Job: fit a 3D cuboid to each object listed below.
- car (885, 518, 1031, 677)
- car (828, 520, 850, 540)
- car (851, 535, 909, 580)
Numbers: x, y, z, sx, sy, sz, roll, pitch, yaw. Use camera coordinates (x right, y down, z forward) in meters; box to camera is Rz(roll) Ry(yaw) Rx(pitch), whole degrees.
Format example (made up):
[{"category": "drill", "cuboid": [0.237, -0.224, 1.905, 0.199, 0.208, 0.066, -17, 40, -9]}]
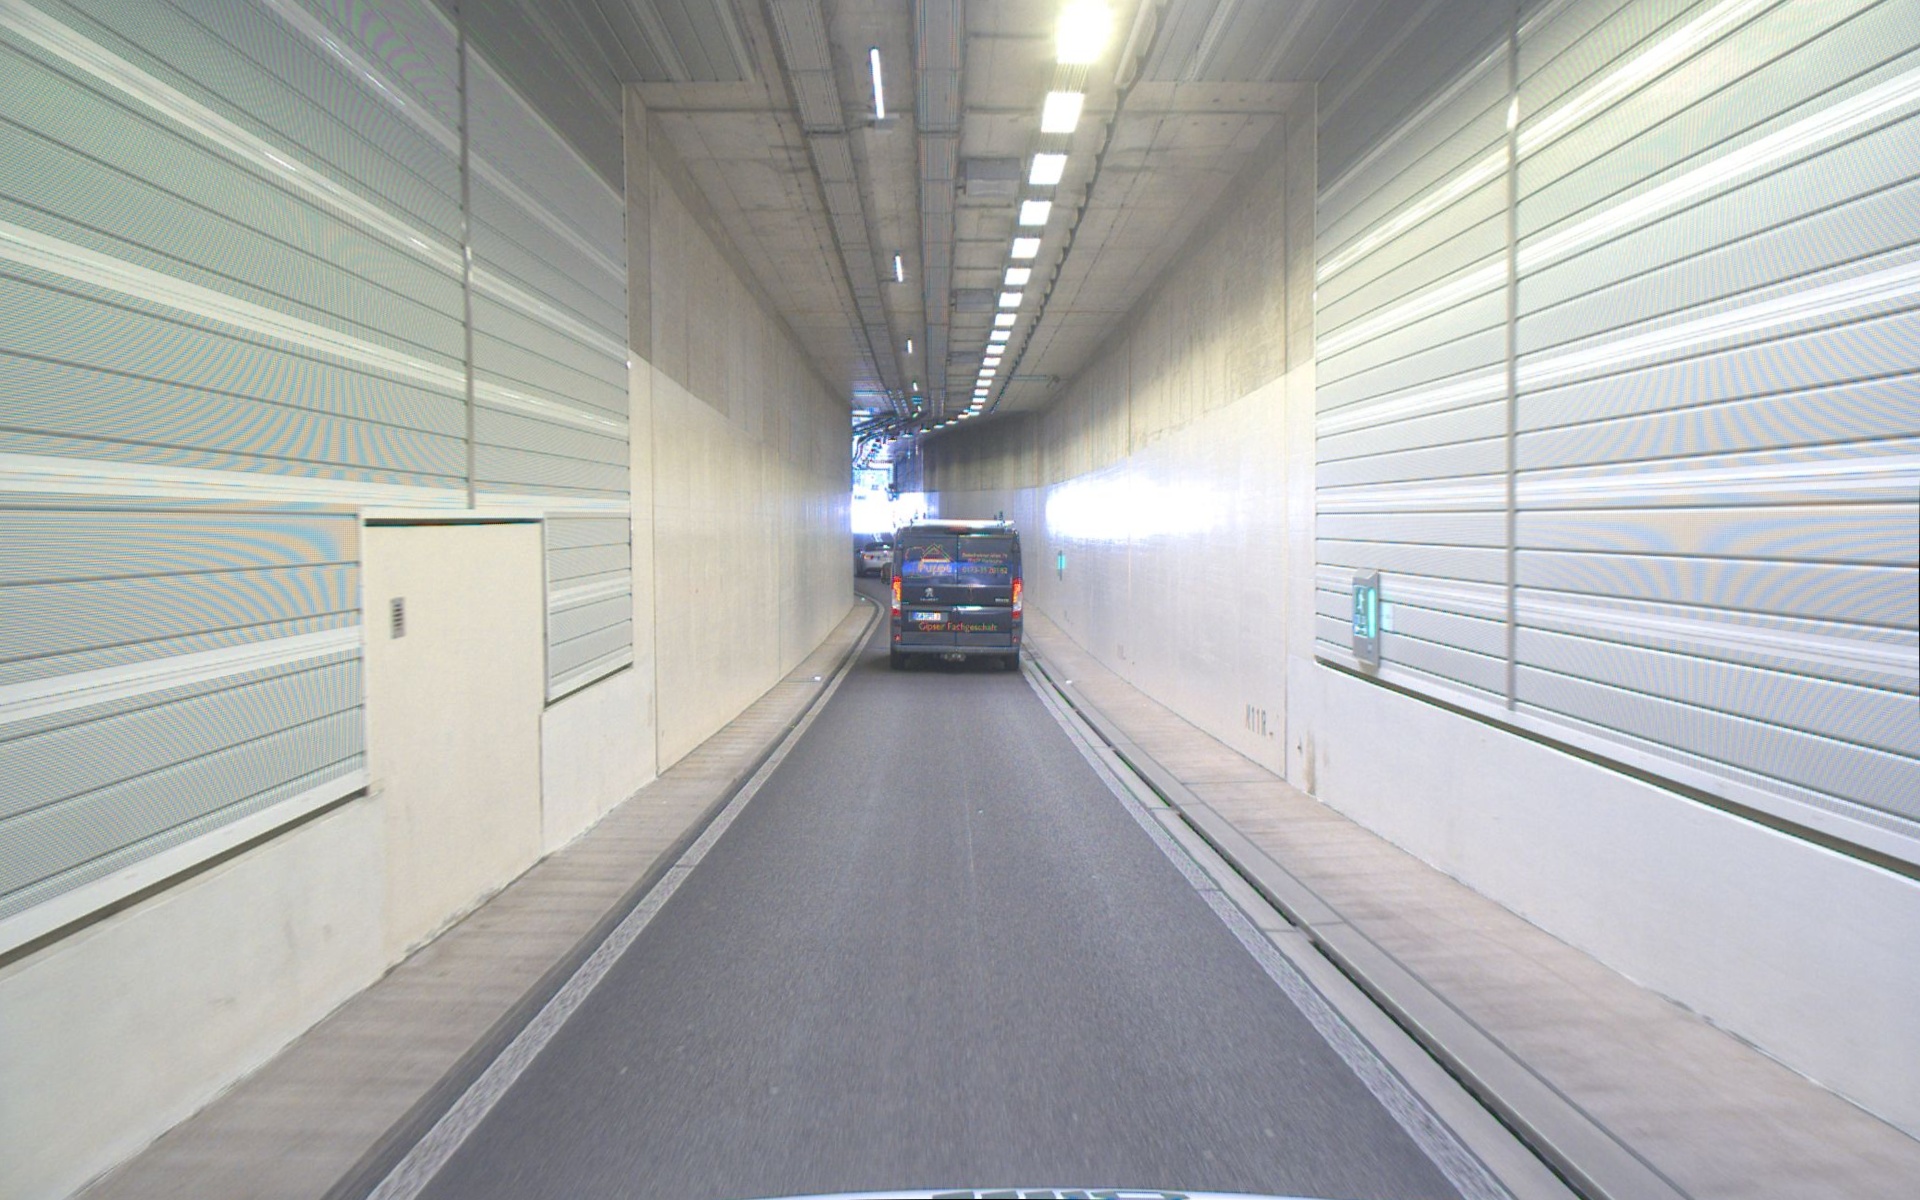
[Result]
[{"category": "car", "cuboid": [-0.055, -0.124, 26.552, 2.114, 2.305, 4.637, 1, 2, -1]}, {"category": "car", "cuboid": [-10.965, -6.342, 149.862, 1.840, 1.652, 4.217, 2, 2, -5]}, {"category": "car", "cuboid": [-2.930, -1.609, 60.967, 2.043, 1.539, 4.636, 0, 3, -3]}]
